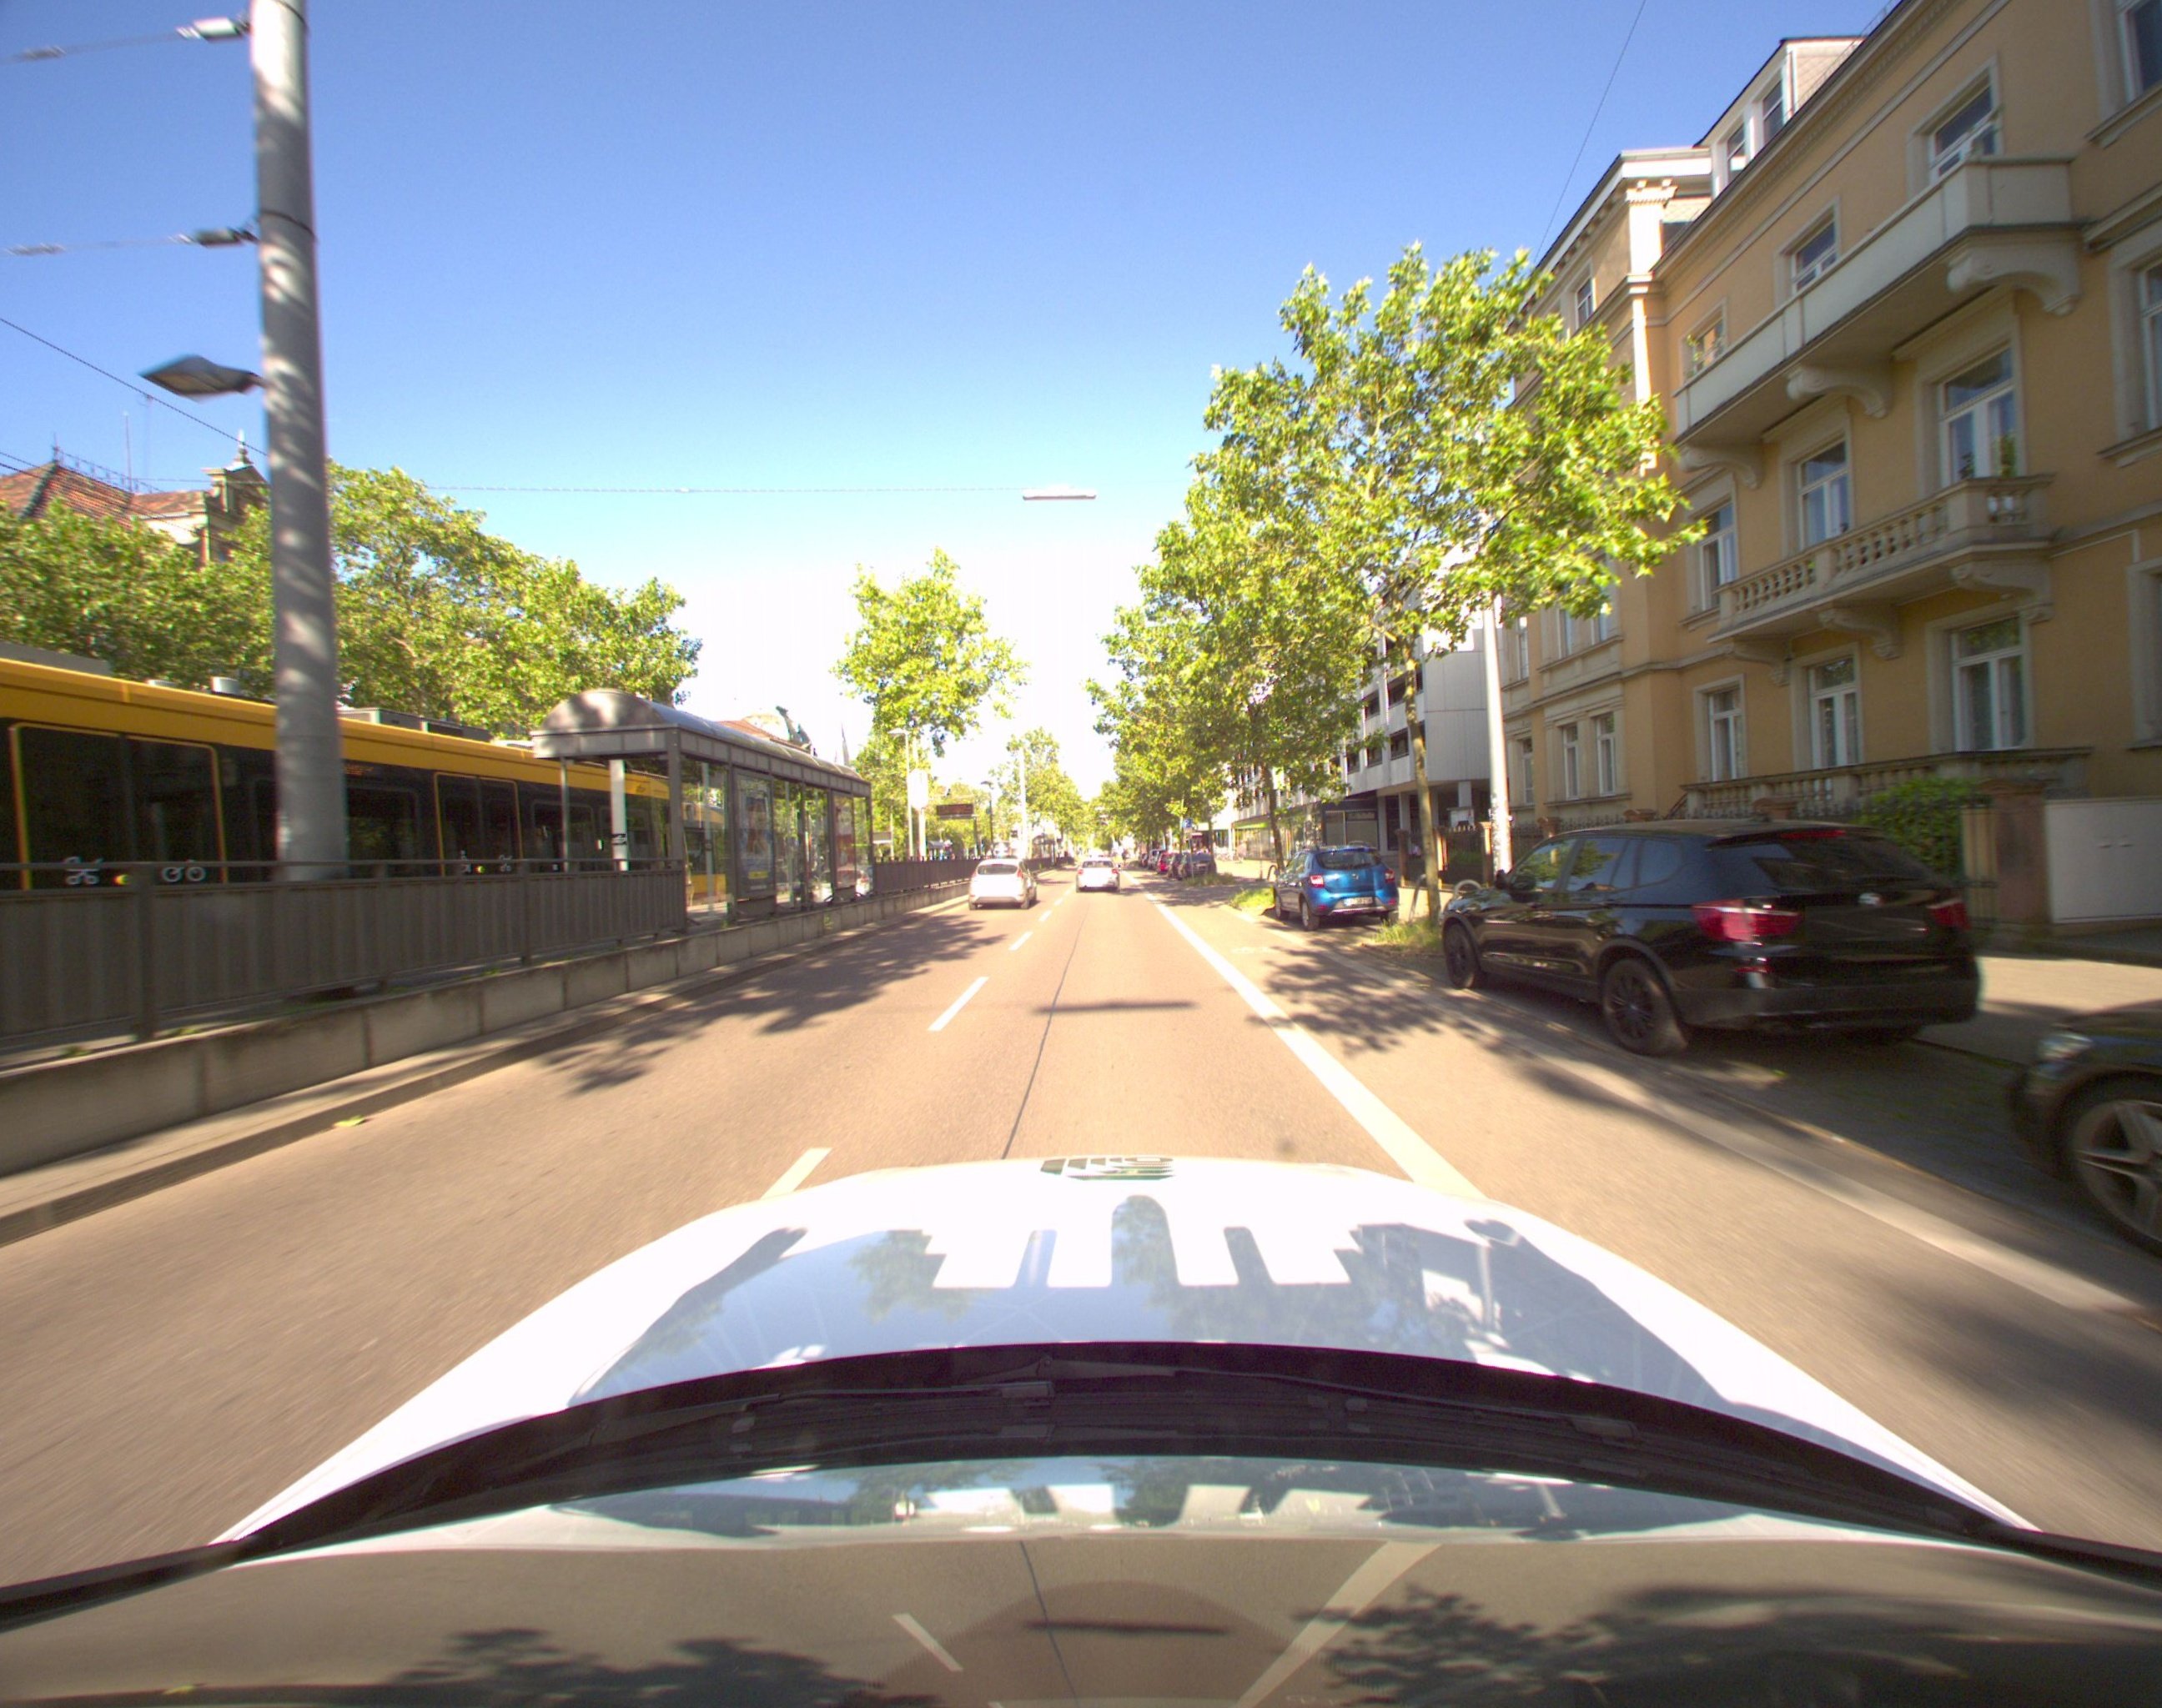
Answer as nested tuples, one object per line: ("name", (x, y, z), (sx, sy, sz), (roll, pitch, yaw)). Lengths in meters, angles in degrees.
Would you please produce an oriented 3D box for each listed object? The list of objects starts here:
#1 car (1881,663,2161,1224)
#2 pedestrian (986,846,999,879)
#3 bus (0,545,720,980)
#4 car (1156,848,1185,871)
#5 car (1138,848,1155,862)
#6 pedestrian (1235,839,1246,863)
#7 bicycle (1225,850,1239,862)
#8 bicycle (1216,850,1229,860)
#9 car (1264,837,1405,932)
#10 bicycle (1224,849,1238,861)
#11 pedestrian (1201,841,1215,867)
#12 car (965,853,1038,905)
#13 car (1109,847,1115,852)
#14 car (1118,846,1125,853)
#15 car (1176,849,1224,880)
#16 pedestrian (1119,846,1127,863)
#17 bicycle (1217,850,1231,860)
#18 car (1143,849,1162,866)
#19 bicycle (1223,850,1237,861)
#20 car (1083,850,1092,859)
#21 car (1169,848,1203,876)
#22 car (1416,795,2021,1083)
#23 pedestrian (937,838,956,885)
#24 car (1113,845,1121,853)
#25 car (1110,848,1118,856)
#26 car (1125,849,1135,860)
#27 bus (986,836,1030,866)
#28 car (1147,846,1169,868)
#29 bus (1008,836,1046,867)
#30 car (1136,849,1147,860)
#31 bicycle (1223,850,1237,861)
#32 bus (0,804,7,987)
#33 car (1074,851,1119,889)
("car", (4.603, 0.309, 1.463), (1.748, 1.964, 4.739), (-2, 1, 2))
("pedestrian", (-5.258, 0.489, 48.561), (0.636, 1.954, 0.814), (-1, 1, 2))
("bus", (-9.717, -0.744, 12.257), (2.858, 3.444, 11.617), (-2, 1, 2))
("car", (6.347, 0.392, 58.194), (1.799, 1.520, 4.002), (-1, 0, 2))
("car", (7.257, 0.083, 89.944), (1.694, 1.534, 3.719), (-1, 1, 2))
("pedestrian", (13.697, -0.234, 69.831), (0.785, 2.013, 0.891), (-2, 0, 2))
("bicycle", (14.958, 0.185, 80.816), (1.378, 1.148, 0.243), (-1, 1, 1))
("bicycle", (14.673, 0.103, 84.425), (1.378, 1.012, 0.243), (-1, 1, 1))
("car", (5.023, 0.512, 16.713), (1.685, 1.658, 4.041), (-2, 1, 2))
("bicycle", (14.955, 0.118, 81.157), (1.378, 1.148, 0.243), (-1, 1, 1))
("pedestrian", (10.288, -0.013, 65.967), (0.960, 2.013, 0.939), (-2, 0, 2))
("car", (-2.265, 0.687, 24.186), (1.640, 1.362, 3.762), (-1, 1, 2))
("car", (9.781, -1.384, 256.396), (1.986, 1.698, 4.002), (-2, 0, 2))
("car", (11.545, -1.310, 230.430), (1.868, 2.013, 3.713), (-1, 1, 2))
("car", (6.166, 0.546, 42.607), (1.986, 1.509, 4.600), (-1, 0, 2))
("pedestrian", (4.934, 0.083, 94.704), (0.833, 2.013, 0.650), (0, 1, 8))
("bicycle", (14.779, 0.110, 83.965), (1.378, 1.098, 0.243), (-1, 1, 1))
("car", (7.223, 0.326, 82.867), (1.704, 1.563, 4.002), (-1, 1, 2))
("bicycle", (14.938, 0.158, 81.802), (1.378, 1.058, 0.243), (0, 1, 1))
("car", (1.430, 0.041, 183.505), (1.986, 2.013, 4.002), (-1, 1, 2))
("car", (6.160, 0.449, 48.164), (1.663, 1.551, 4.002), (-1, 1, 2))
("car", (4.835, 0.508, 7.304), (1.791, 1.700, 4.739), (-2, 0, 2))
("pedestrian", (-5.579, 0.303, 33.790), (0.636, 1.954, 0.814), (-1, 1, 2))
("car", (9.163, -1.294, 207.309), (1.986, 2.013, 4.001), (-2, 0, 1))
("car", (8.941, -0.586, 219.362), (2.063, 2.013, 4.002), (-2, 0, 2))
("car", (9.991, 0.084, 167.153), (1.986, 2.013, 4.002), (-1, 1, 2))
("bus", (-9.967, -0.546, 114.992), (2.858, 3.628, 24.617), (-2, 1, 2))
("car", (6.920, 0.241, 73.700), (1.718, 1.880, 4.002), (-1, 0, 2))
("bus", (-6.736, -0.418, 105.140), (2.739, 3.625, 18.858), (-2, 1, 2))
("car", (10.245, 0.065, 138.635), (1.802, 1.791, 3.913), (-1, 1, 2))
("bicycle", (14.938, 0.178, 81.485), (1.378, 1.055, 0.243), (-1, 1, 1))
("bus", (-10.188, -0.559, 0.337), (2.858, 3.444, 12.222), (-2, 1, 2))
("car", (0.666, 0.624, 34.023), (1.756, 1.432, 4.001), (-1, 1, 1))
